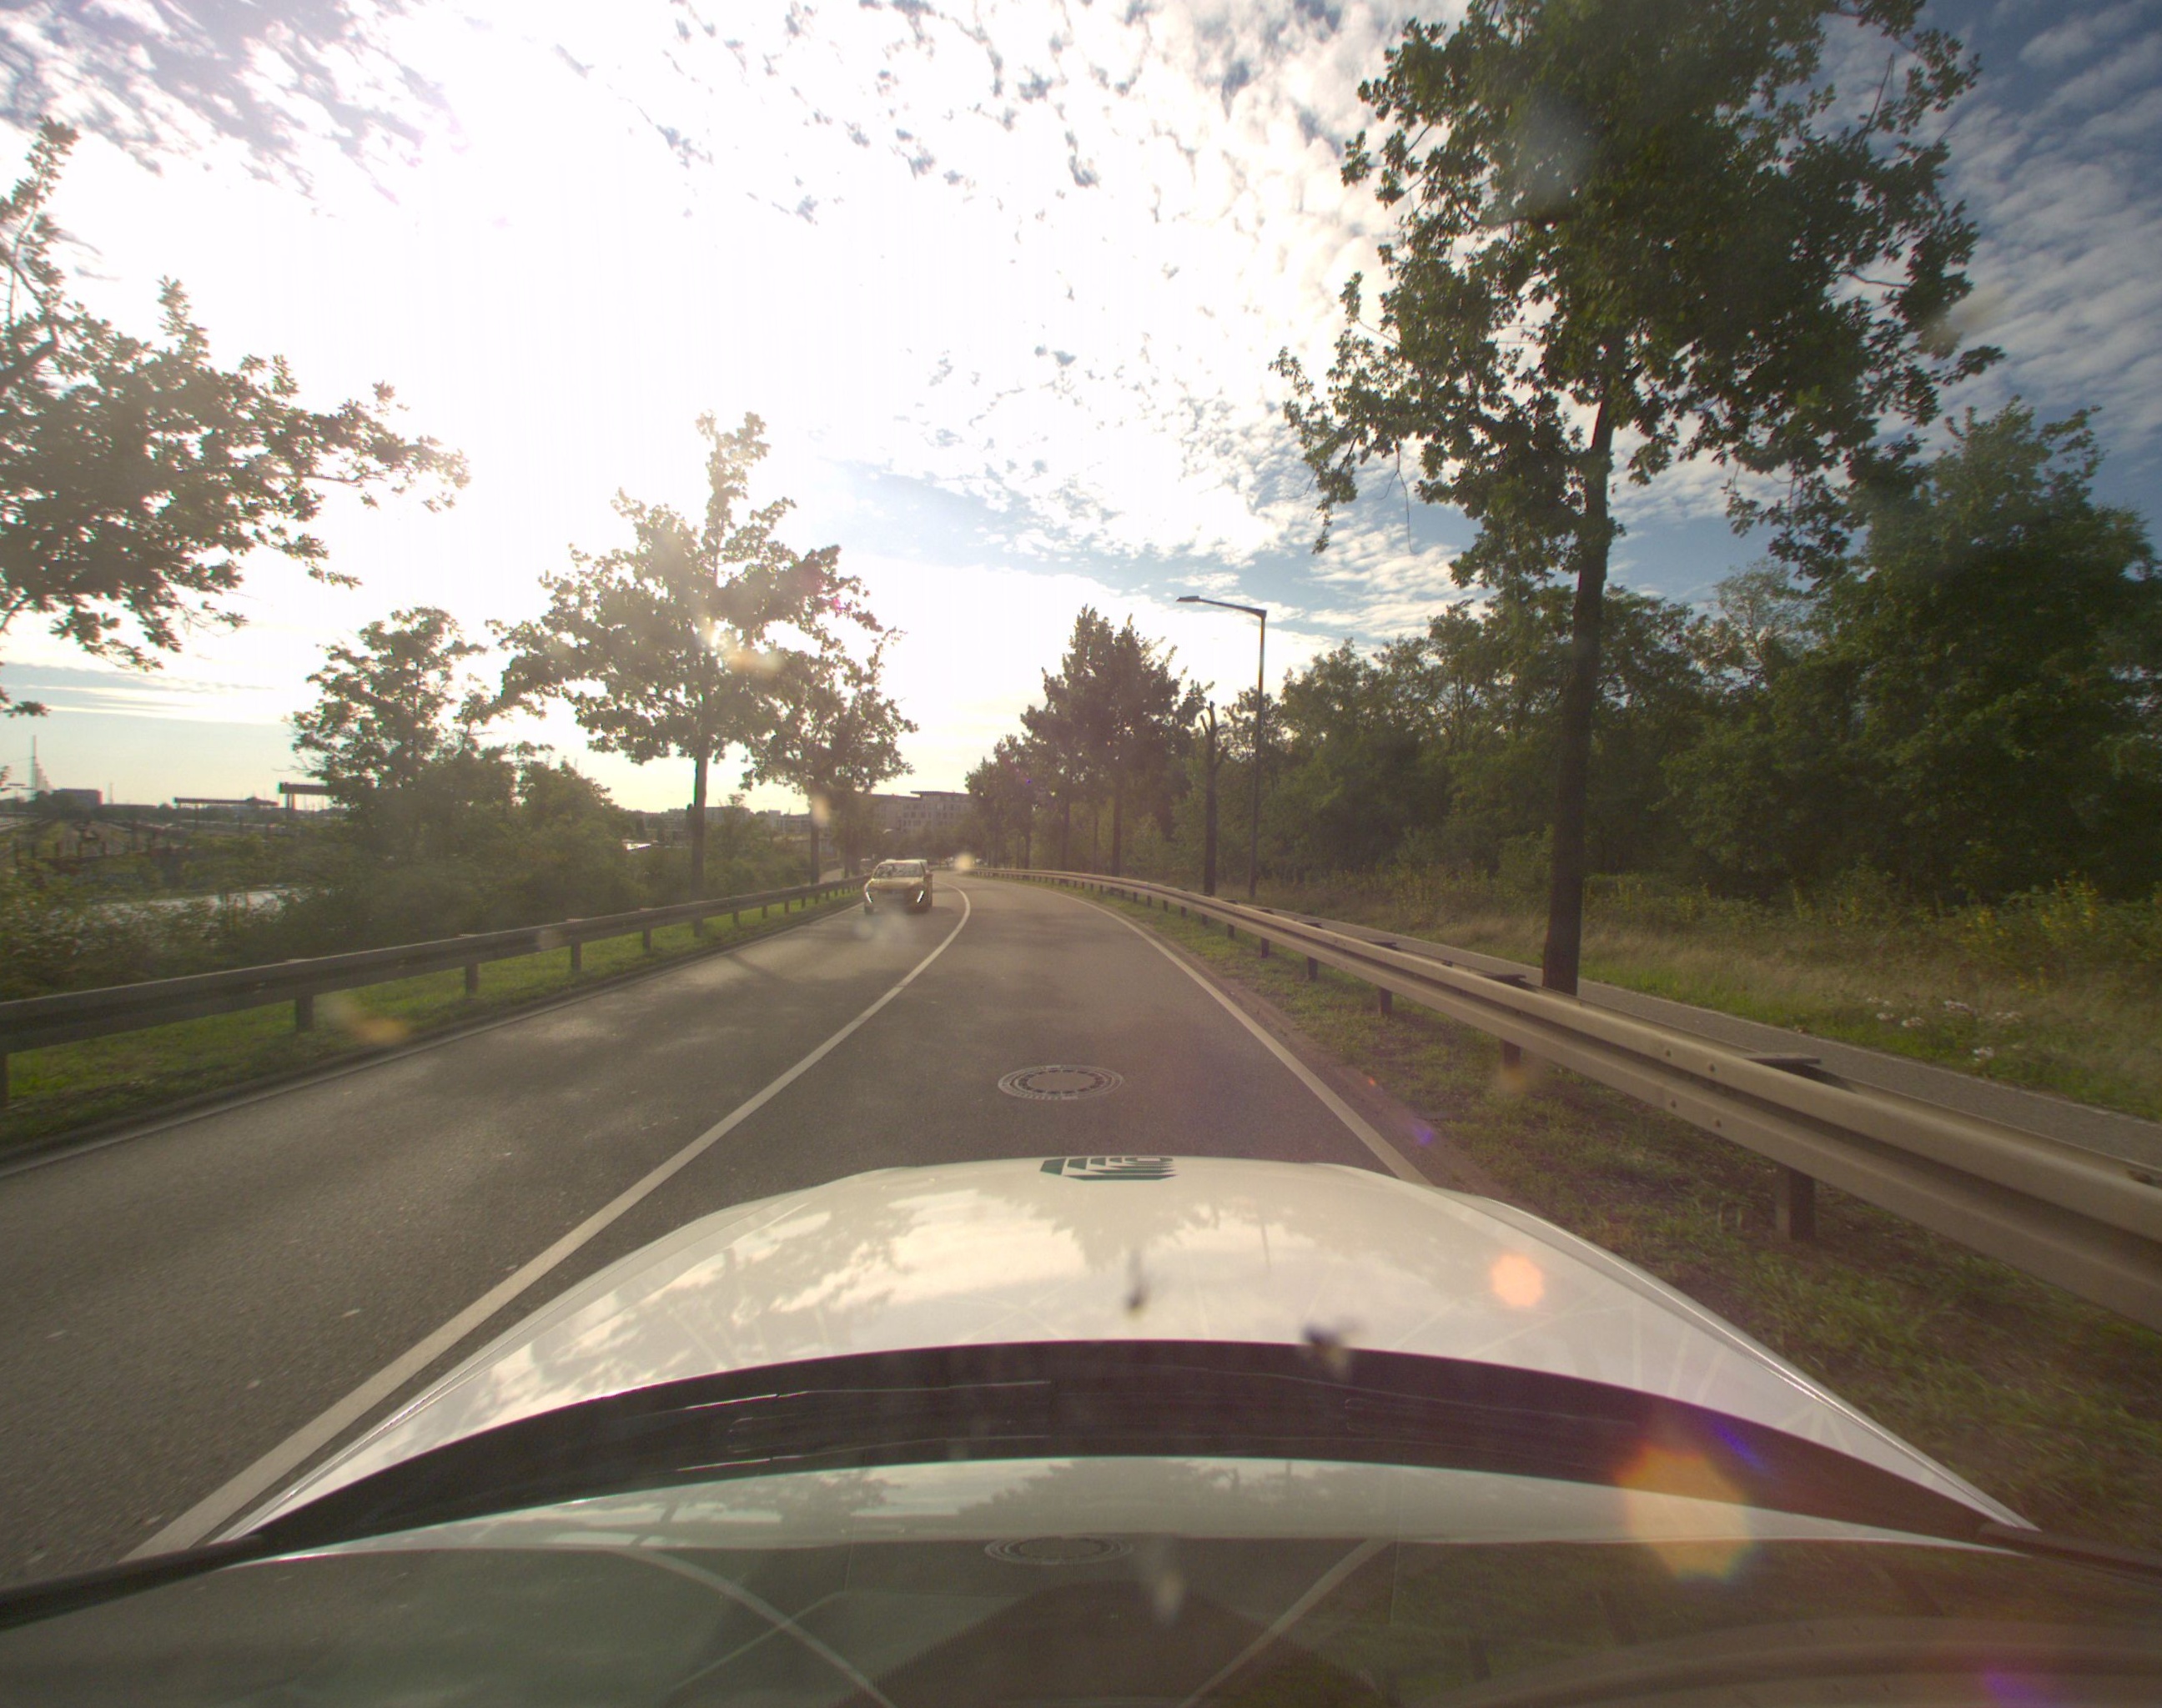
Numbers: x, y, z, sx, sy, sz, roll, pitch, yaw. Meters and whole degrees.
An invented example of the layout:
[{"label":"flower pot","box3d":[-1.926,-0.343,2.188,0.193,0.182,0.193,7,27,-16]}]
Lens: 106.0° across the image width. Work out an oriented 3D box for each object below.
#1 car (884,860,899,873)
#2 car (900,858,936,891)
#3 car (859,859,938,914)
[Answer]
[{"label":"car","box3d":[-22.233,1.459,95.544,1.571,1.425,3.571,-1,0,-16]},{"label":"car","box3d":[-7.586,0.920,37.738,1.569,1.425,3.575,-1,0,-13]},{"label":"car","box3d":[-5.181,0.871,23.567,1.797,1.425,3.863,-1,0,-7]}]
